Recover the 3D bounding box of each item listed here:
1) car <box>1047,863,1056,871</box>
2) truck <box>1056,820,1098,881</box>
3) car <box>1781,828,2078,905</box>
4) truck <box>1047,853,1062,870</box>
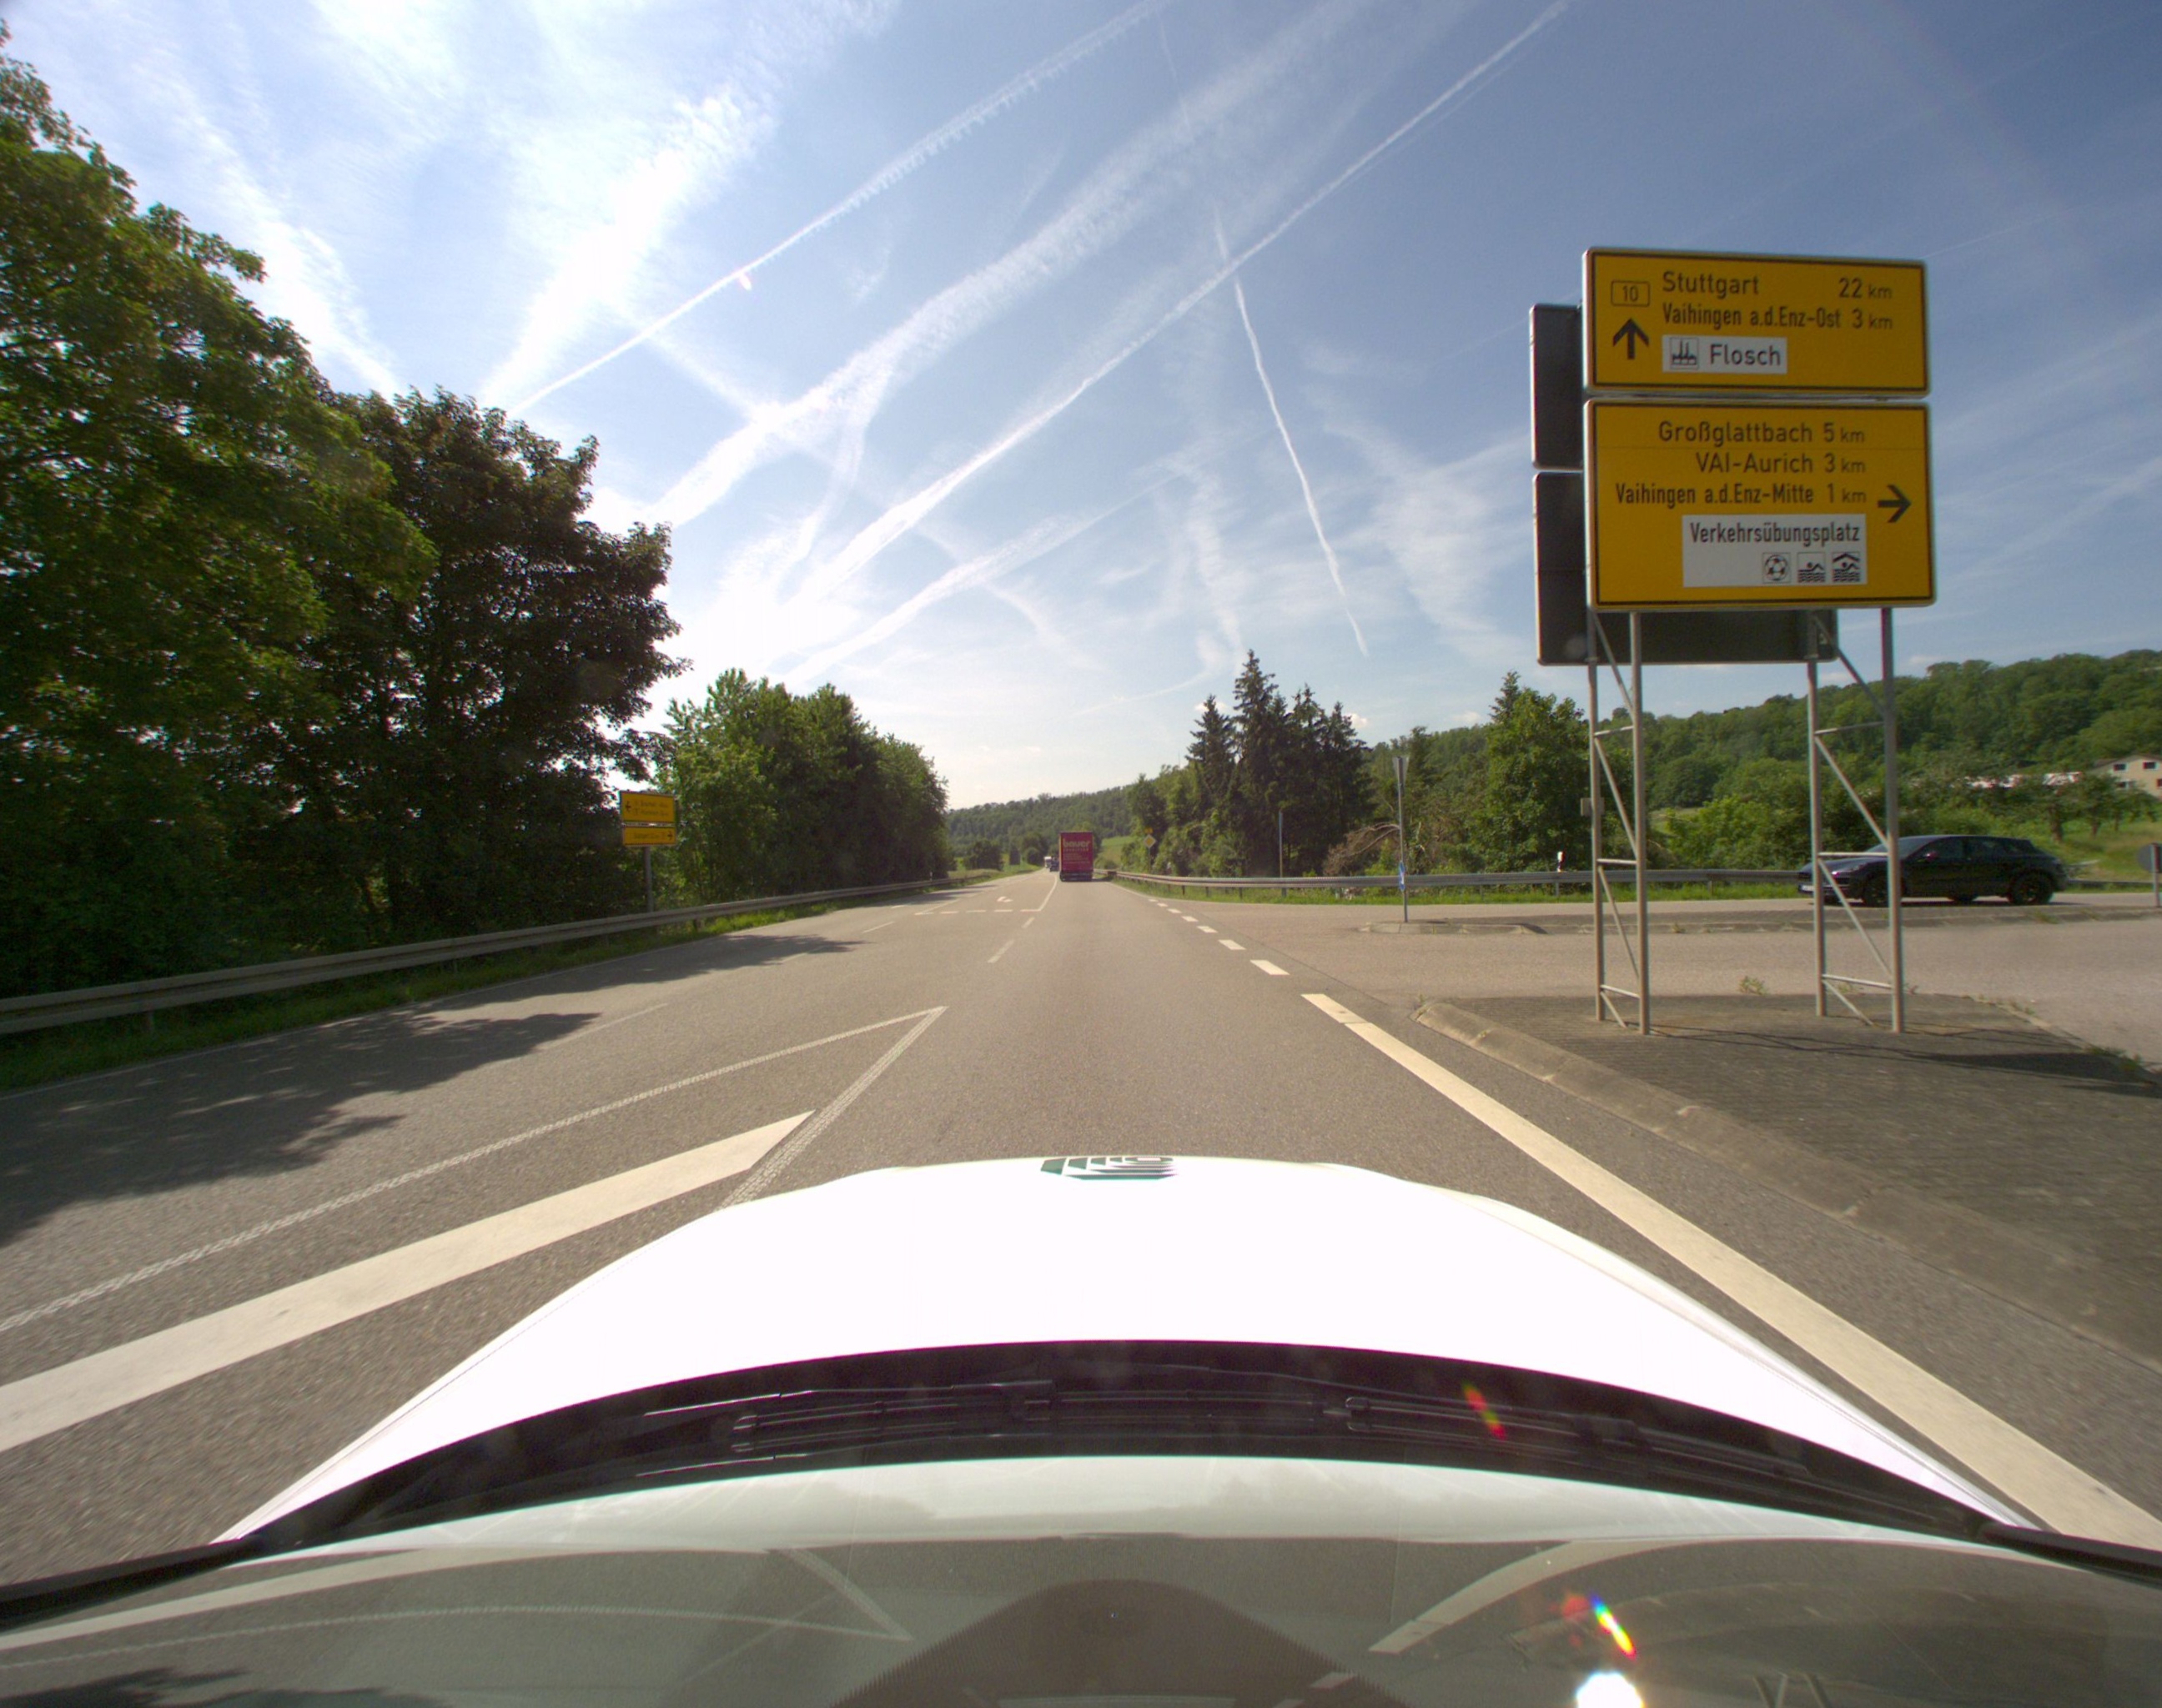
[{"bbox_3d":[-6.653,3.005,184.953,1.989,1.810,3.995,1,-1,-3],"label":"car"},{"bbox_3d":[-0.467,-0.227,69.825,3.163,4.625,13.534,-2,-1,-1],"label":"truck"},{"bbox_3d":[19.502,0.300,18.972,4.386,1.590,2.070,-2,0,11],"label":"car"},{"bbox_3d":[-7.005,2.090,216.209,3.895,4.370,13.280,0,-1,-2],"label":"truck"}]
